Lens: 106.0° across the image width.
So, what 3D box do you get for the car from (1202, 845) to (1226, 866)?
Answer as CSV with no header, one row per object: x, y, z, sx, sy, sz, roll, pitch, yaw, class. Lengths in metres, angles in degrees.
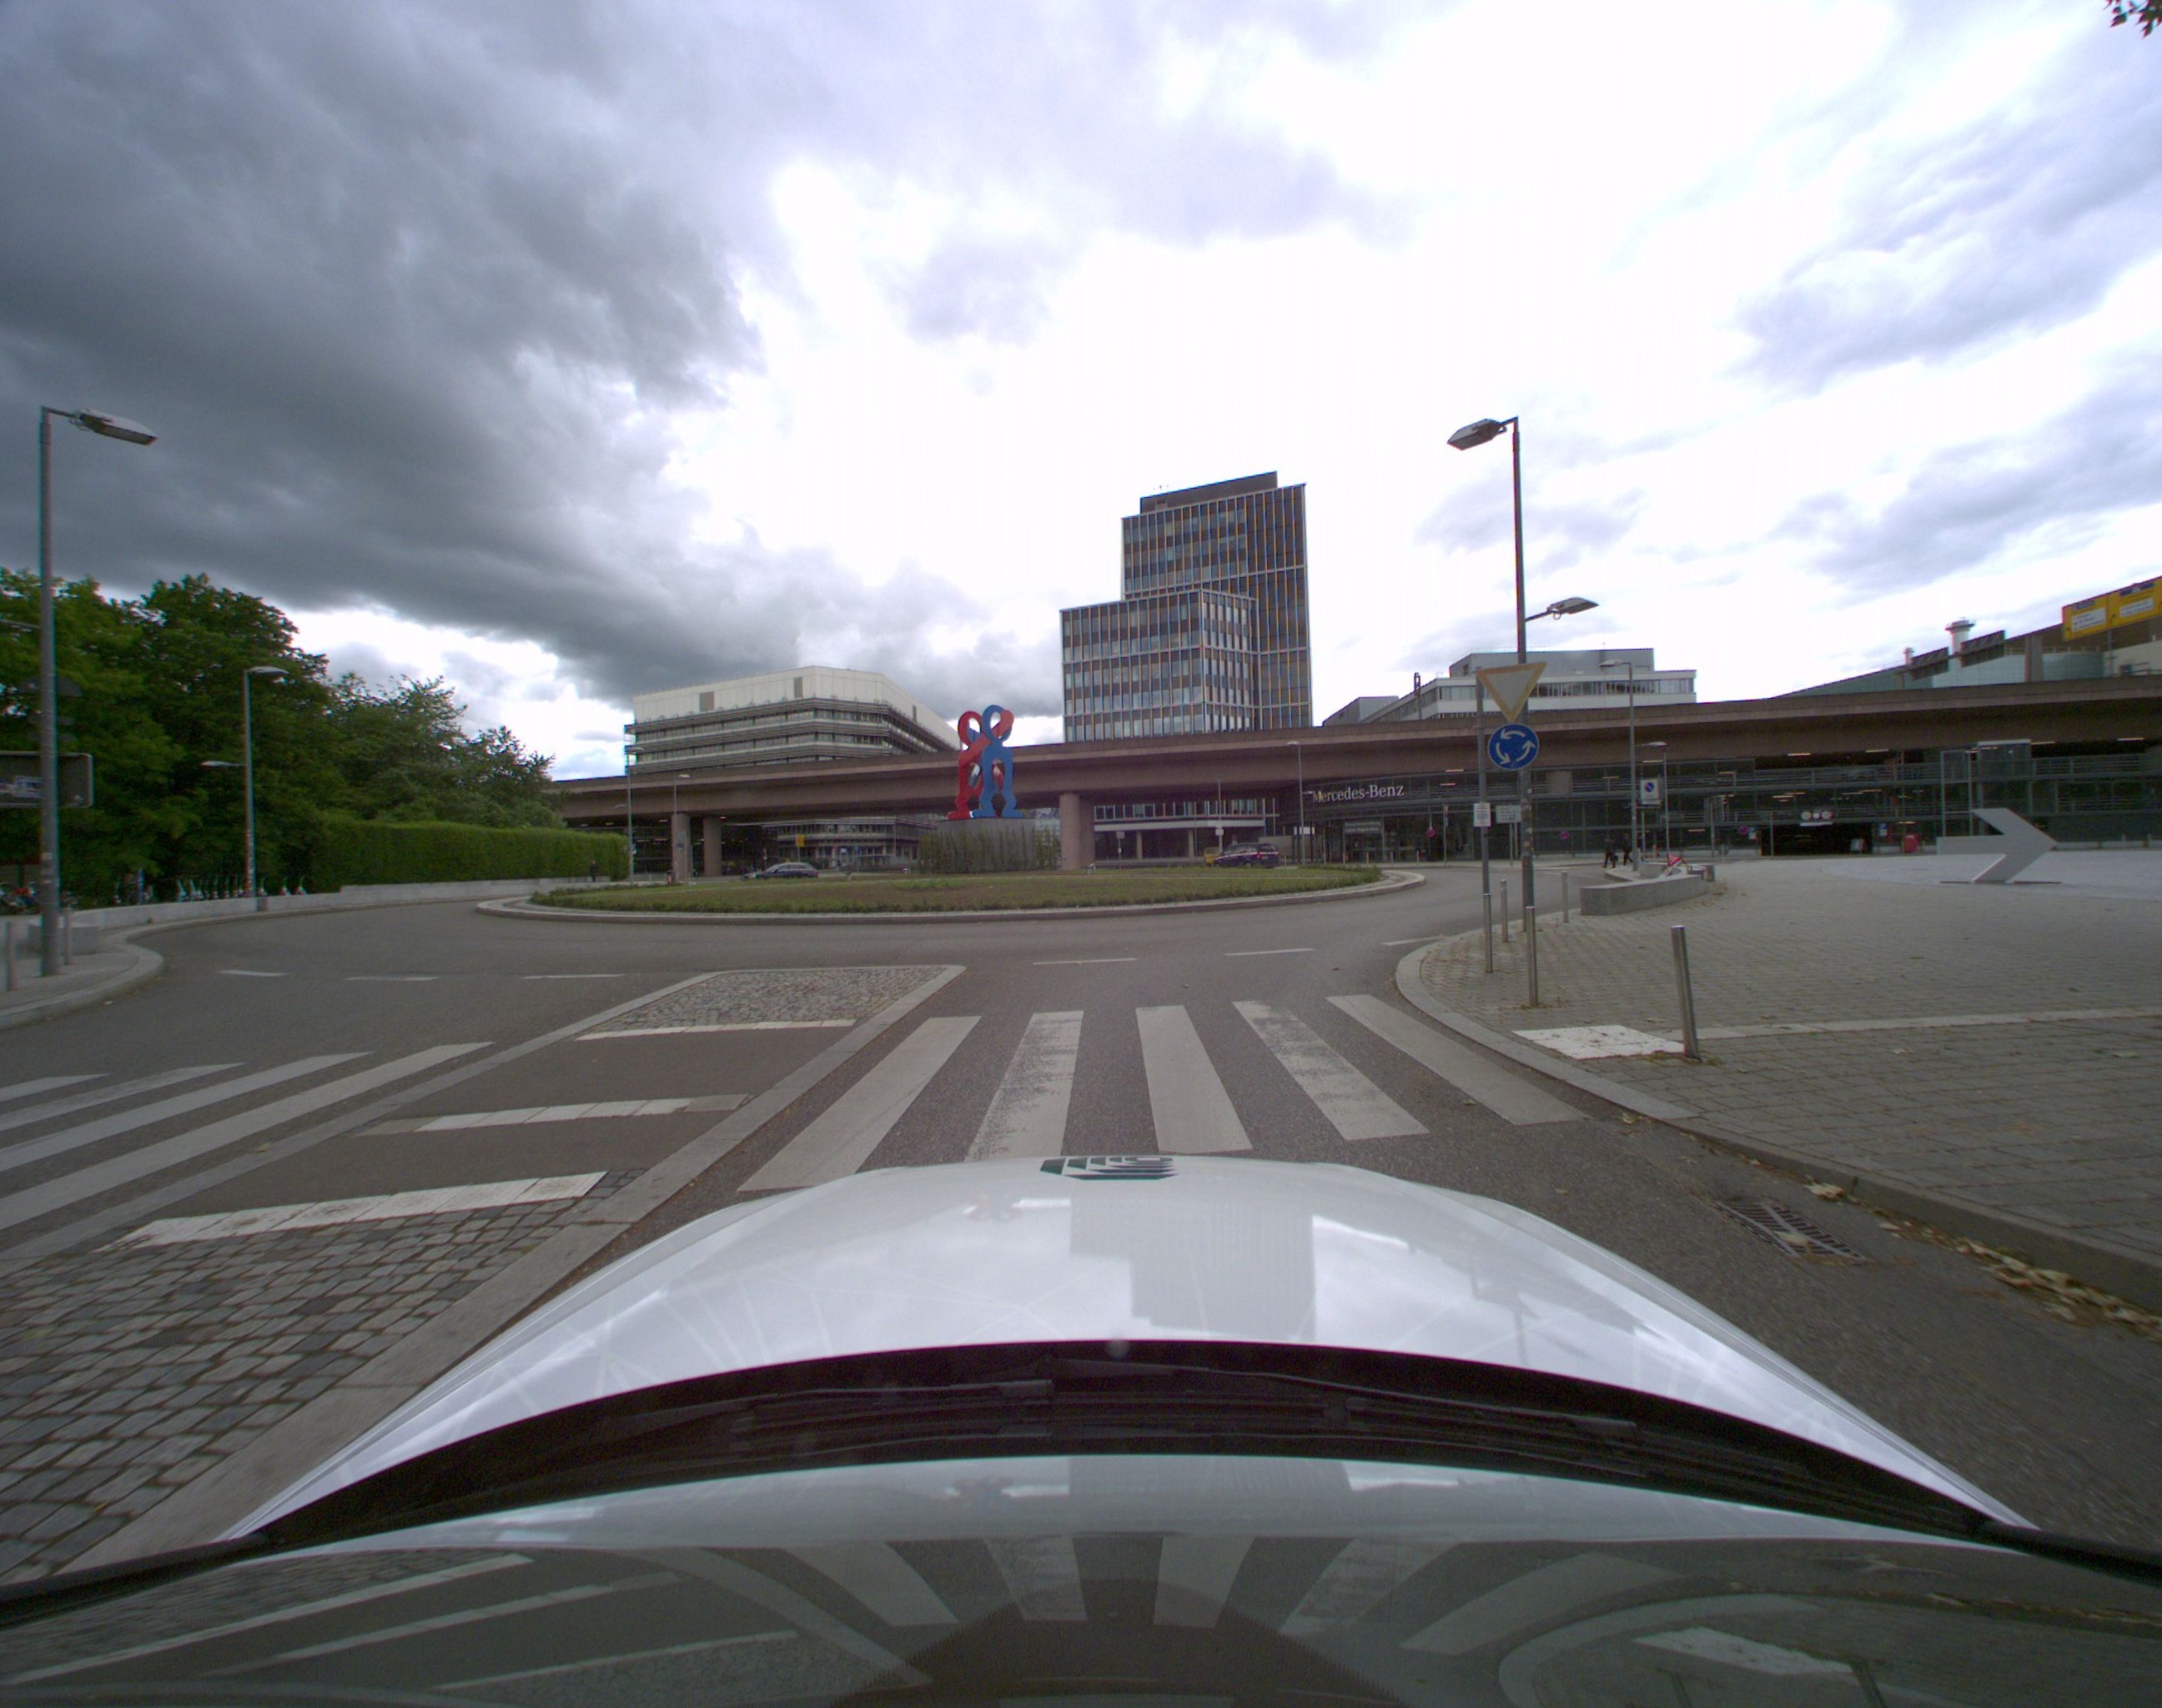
13.473,0.184,82.371,1.978,2.014,4.017,-1,-1,16,car

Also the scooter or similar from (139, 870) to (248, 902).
-38.118,1.360,35.015,3.190,1.249,0.768,-1,-1,-18,scooter or similar

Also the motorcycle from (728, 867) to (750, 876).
-45.416,2.353,108.217,2.631,1.112,1.044,-1,-1,19,motorcycle

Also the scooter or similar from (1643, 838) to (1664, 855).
43.258,-0.564,61.539,1.222,1.194,0.357,-1,-1,13,scooter or similar

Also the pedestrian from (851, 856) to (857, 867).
-40.574,1.362,145.700,0.774,2.013,0.670,-1,0,-1,pedestrian

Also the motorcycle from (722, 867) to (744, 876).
-45.725,2.345,106.952,2.631,1.112,1.044,-1,-1,19,motorcycle

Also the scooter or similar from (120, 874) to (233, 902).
-37.830,1.406,34.118,3.190,1.097,0.768,-1,-1,-18,scooter or similar

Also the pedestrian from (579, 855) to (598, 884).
-35.362,1.104,58.466,1.044,2.014,0.596,-1,-1,-13,pedestrian

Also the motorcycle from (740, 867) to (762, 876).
-44.465,2.354,109.767,2.631,1.112,1.044,-1,-1,19,motorcycle

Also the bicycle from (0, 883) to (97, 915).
-38.219,1.633,29.608,3.190,1.097,0.768,-1,-1,-18,bicycle

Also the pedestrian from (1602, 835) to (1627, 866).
26.910,-0.176,41.099,0.825,1.570,0.692,-1,-1,10,pedestrian

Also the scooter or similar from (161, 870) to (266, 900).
-38.400,1.374,36.098,3.190,1.249,0.768,-1,-1,-18,scooter or similar

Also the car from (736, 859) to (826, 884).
-18.951,1.094,51.543,4.958,1.460,1.977,0,-1,-38,car

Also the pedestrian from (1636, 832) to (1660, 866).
28.877,-0.246,41.479,0.823,1.740,0.694,-1,-1,22,pedestrian

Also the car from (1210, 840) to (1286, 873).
10.789,0.183,52.908,2.289,2.014,4.739,0,-1,-28,car

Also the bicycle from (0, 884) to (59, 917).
-38.114,1.651,28.400,3.190,1.097,0.768,-1,-1,-18,bicycle

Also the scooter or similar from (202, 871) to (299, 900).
-39.237,1.476,38.523,3.190,1.249,0.768,-1,-1,-18,scooter or similar

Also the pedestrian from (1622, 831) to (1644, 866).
27.997,-0.272,41.303,0.823,1.740,0.694,-1,-1,26,pedestrian

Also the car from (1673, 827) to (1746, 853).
48.657,-1.084,63.151,3.958,1.904,2.008,-1,0,14,car

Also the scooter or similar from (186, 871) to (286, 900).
-38.846,1.451,37.482,3.190,1.249,0.768,-1,-1,-18,scooter or similar

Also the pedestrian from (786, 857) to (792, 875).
-33.551,1.400,93.637,0.589,2.014,0.596,-1,-1,-13,pedestrian

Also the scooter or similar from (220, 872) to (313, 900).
-39.408,1.533,39.449,3.190,1.249,0.768,-1,-1,-18,scooter or similar
